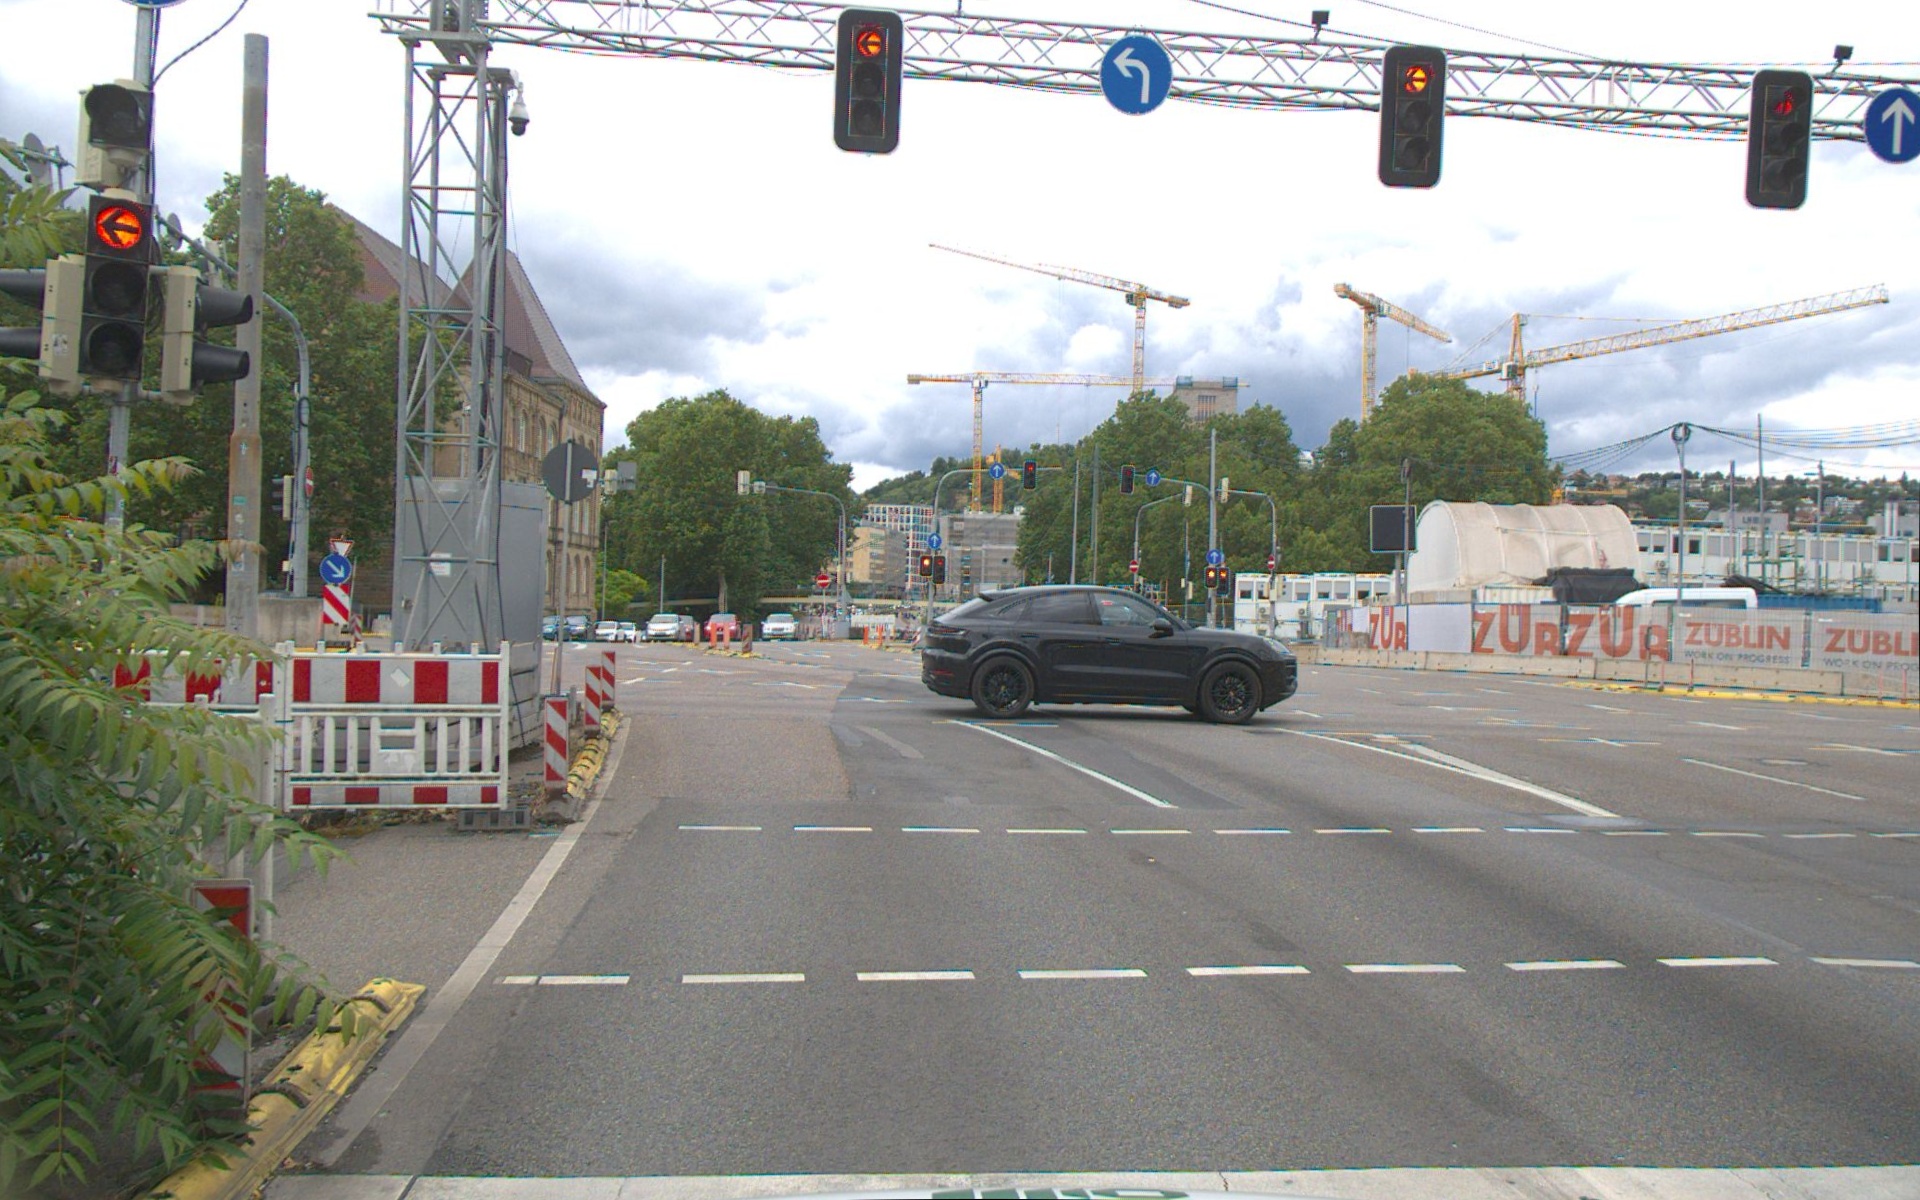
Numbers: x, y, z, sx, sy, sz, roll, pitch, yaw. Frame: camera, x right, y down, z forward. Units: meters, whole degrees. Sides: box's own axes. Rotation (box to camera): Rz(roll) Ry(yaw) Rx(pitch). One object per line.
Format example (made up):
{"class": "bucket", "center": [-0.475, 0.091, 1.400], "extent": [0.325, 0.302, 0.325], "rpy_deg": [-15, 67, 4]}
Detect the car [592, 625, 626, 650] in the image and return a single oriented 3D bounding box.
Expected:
{"class": "car", "center": [-21.423, 2.253, 101.045], "extent": [1.644, 1.422, 3.677], "rpy_deg": [1, 0, -7]}

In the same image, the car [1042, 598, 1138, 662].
{"class": "car", "center": [3.763, 0.844, 48.603], "extent": [1.799, 1.776, 4.245], "rpy_deg": [1, 0, -10]}

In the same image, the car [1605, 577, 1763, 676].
{"class": "car", "center": [20.821, 0.747, 47.690], "extent": [3.902, 2.708, 1.683], "rpy_deg": [1, 0, 13]}

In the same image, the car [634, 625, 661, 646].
{"class": "car", "center": [-23.011, 2.626, 121.818], "extent": [1.644, 1.422, 3.677], "rpy_deg": [1, 0, -7]}

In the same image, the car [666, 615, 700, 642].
{"class": "car", "center": [-15.297, 1.561, 91.547], "extent": [1.644, 1.422, 3.677], "rpy_deg": [1, 0, -7]}

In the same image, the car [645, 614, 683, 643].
{"class": "car", "center": [-15.257, 1.432, 85.388], "extent": [1.644, 1.422, 3.677], "rpy_deg": [1, 0, -7]}

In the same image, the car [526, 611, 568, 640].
{"class": "car", "center": [-21.479, 1.328, 86.154], "extent": [1.644, 1.422, 3.677], "rpy_deg": [1, 0, -7]}

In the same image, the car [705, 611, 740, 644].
{"class": "car", "center": [-12.125, 1.390, 84.527], "extent": [1.644, 1.608, 3.677], "rpy_deg": [1, 0, -7]}

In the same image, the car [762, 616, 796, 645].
{"class": "car", "center": [-9.292, 1.533, 84.860], "extent": [1.644, 1.422, 3.677], "rpy_deg": [1, 0, -7]}

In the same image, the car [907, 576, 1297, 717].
{"class": "car", "center": [1.726, 0.578, 21.238], "extent": [4.713, 1.653, 2.018], "rpy_deg": [1, 0, -5]}

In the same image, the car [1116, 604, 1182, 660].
{"class": "car", "center": [6.039, 1.001, 53.137], "extent": [1.642, 1.732, 3.374], "rpy_deg": [1, 0, -1]}

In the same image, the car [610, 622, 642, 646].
{"class": "car", "center": [-21.660, 2.240, 107.286], "extent": [1.644, 1.423, 3.677], "rpy_deg": [1, -3, -6]}

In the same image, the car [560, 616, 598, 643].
{"class": "car", "center": [-21.286, 1.632, 92.583], "extent": [1.644, 1.422, 3.677], "rpy_deg": [1, 0, -7]}

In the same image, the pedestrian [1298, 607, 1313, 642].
{"class": "pedestrian", "center": [17.615, 1.232, 84.290], "extent": [0.519, 1.778, 0.465], "rpy_deg": [1, 0, -25]}
